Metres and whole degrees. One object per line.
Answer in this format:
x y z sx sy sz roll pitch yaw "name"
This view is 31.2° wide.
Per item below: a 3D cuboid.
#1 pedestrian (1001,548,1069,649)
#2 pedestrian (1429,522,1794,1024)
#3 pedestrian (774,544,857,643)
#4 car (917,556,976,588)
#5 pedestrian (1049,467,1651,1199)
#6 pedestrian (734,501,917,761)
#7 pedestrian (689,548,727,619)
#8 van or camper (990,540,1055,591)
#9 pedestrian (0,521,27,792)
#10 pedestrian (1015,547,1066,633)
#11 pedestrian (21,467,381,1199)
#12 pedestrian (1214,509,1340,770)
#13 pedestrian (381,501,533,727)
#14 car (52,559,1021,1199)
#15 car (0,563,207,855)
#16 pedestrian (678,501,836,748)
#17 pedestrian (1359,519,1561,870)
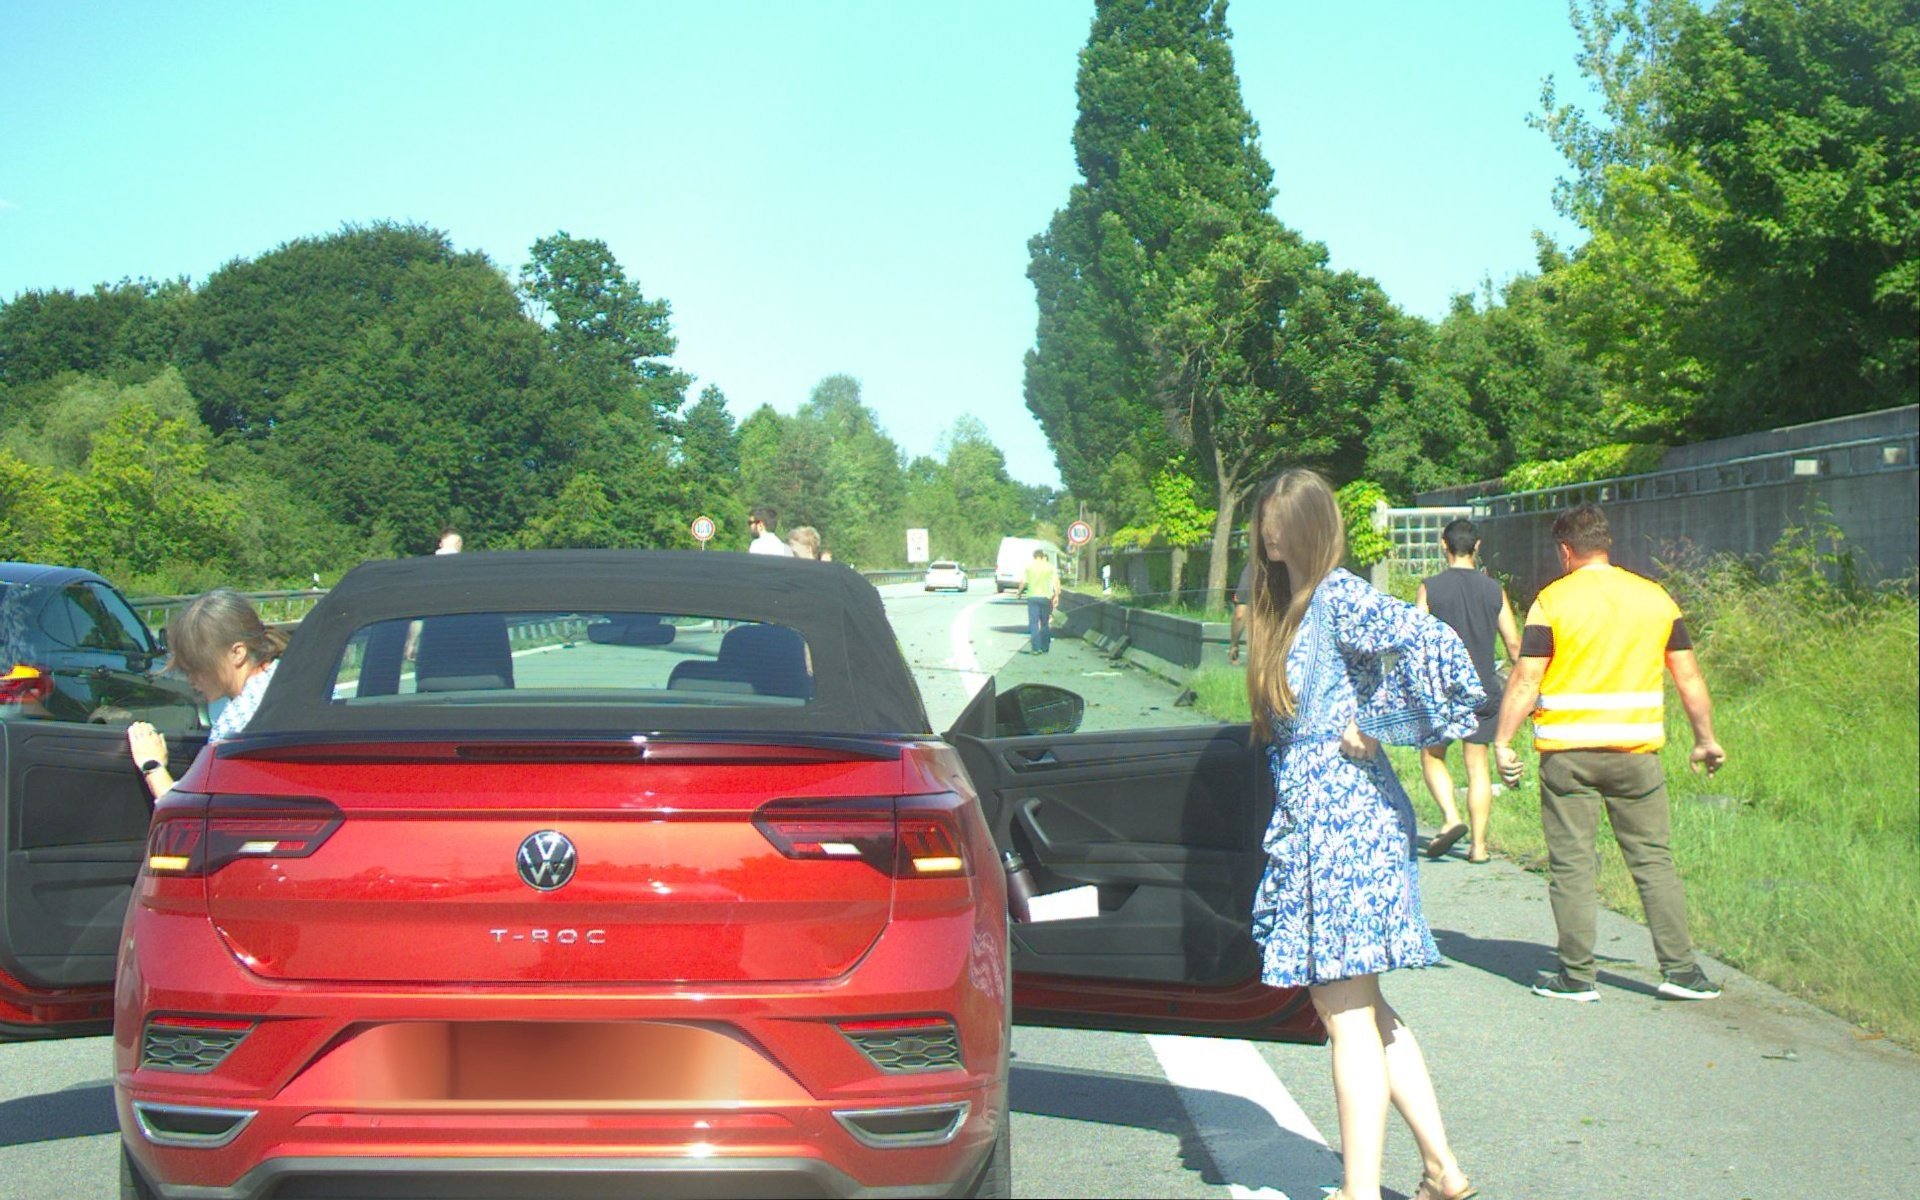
1.261 -0.029 57.771 1.056 1.683 1.017 1 0 5 "pedestrian"
2.252 0.563 12.052 0.957 1.648 1.278 -1 1 -3 "pedestrian"
-2.501 -0.113 59.670 1.115 1.683 0.972 1 0 22 "pedestrian"
-0.616 -1.316 161.655 1.734 1.482 4.207 1 1 15 "car"
0.827 0.571 7.564 1.124 1.689 0.893 -1 1 -6 "pedestrian"
-0.983 0.217 25.406 1.066 1.876 1.093 -1 1 14 "pedestrian"
-6.022 -0.388 82.119 0.791 1.683 0.792 1 0 4 "pedestrian"
2.945 -1.606 160.284 1.995 2.308 4.467 1 0 15 "van or camper"
-6.748 0.373 22.291 1.041 1.757 1.118 -1 1 1 "pedestrian"
1.599 -0.196 68.239 0.996 1.683 1.010 1 0 2 "pedestrian"
-1.838 0.534 8.261 0.741 1.677 0.842 -1 1 -18 "pedestrian"
2.182 0.263 23.602 0.812 1.753 0.828 1 0 8 "pedestrian"
-4.066 0.106 27.890 1.104 1.782 1.091 1 0 -3 "pedestrian"
-0.819 0.655 8.302 1.732 1.482 4.211 1 1 -2 "car"
-5.477 0.515 19.192 1.694 1.421 4.334 1 1 -2 "car"
-1.632 0.182 27.405 1.105 1.906 1.257 -1 1 -9 "pedestrian"
2.509 0.461 17.312 0.894 1.719 0.754 1 0 1 "pedestrian"
